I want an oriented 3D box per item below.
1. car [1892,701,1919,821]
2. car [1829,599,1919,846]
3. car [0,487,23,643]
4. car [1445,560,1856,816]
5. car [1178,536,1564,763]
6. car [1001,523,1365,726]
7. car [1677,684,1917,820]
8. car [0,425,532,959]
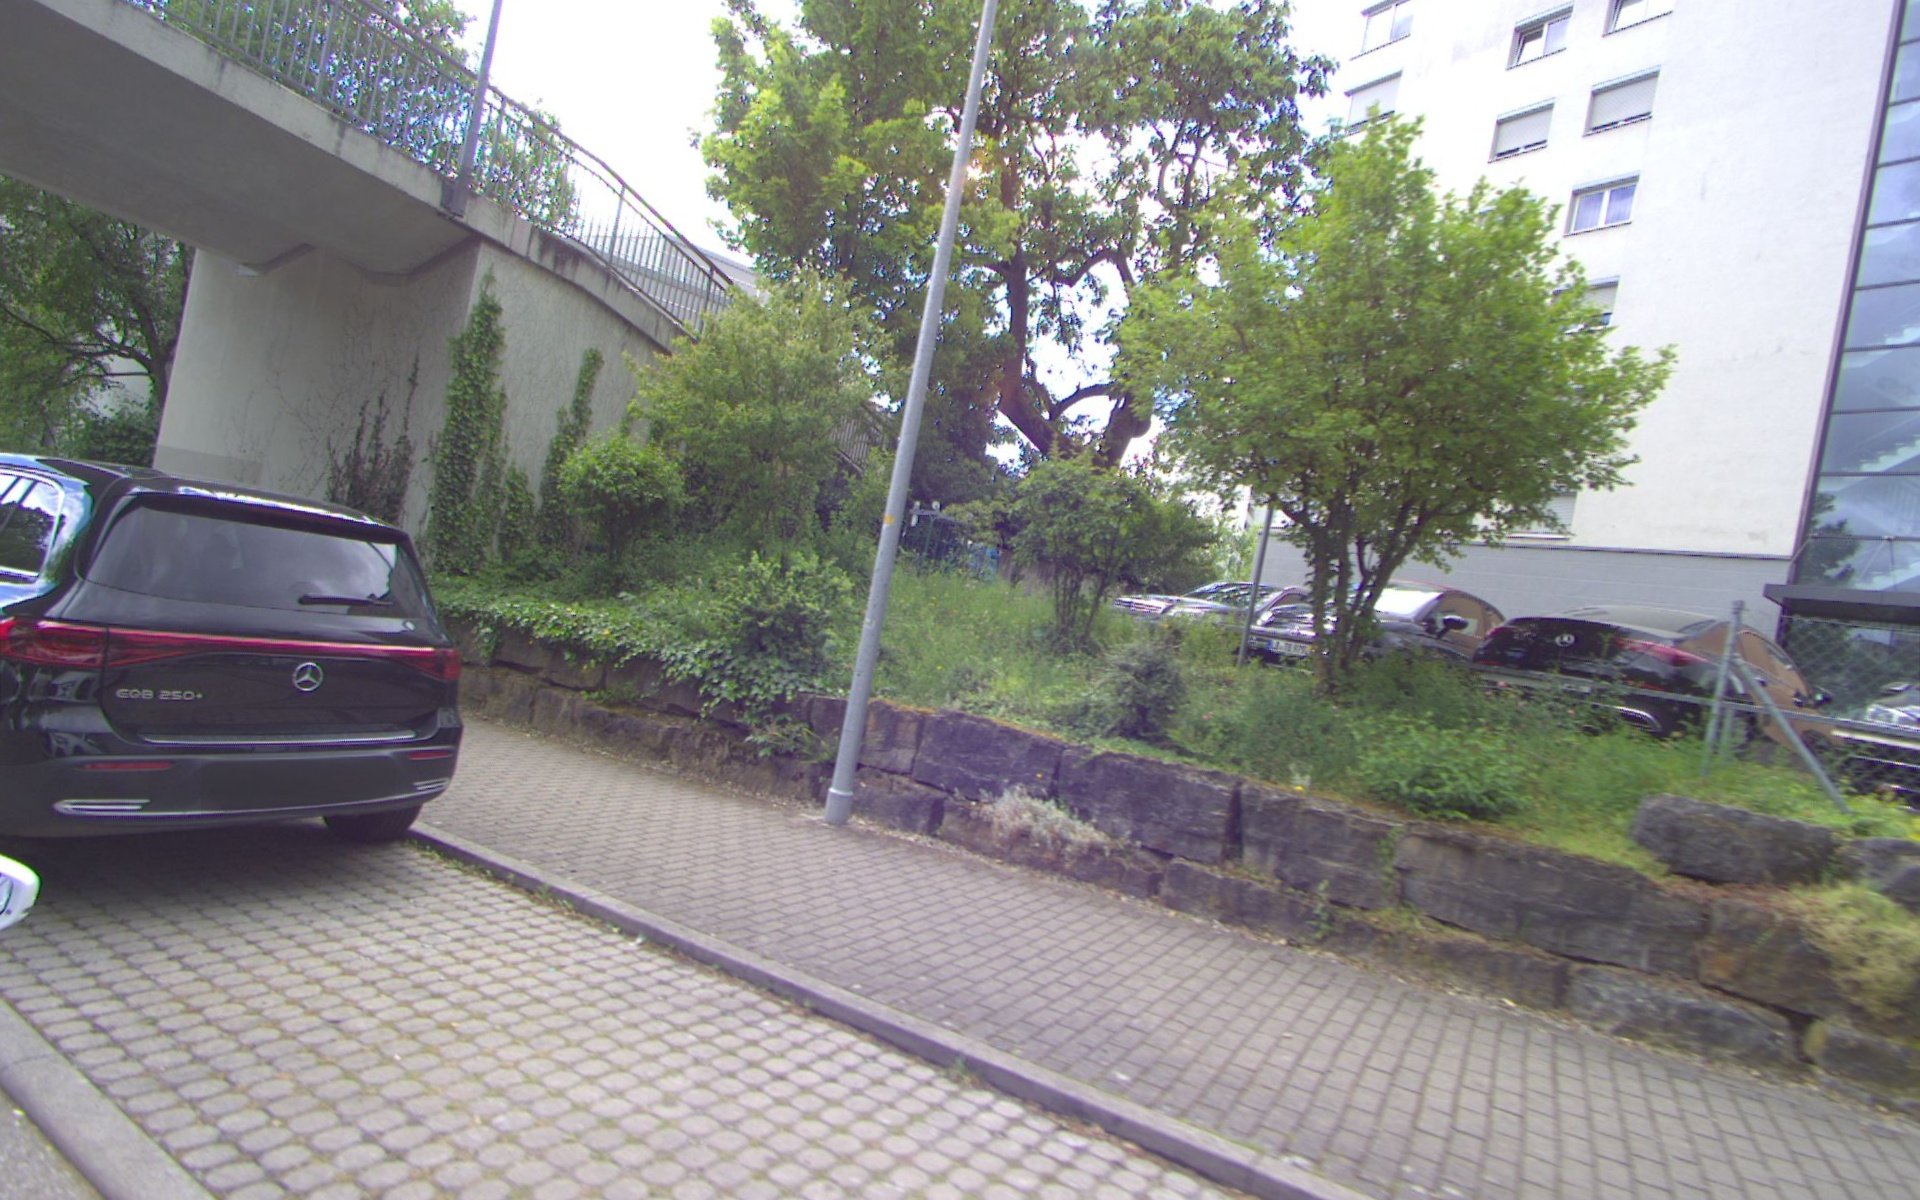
[{"bbox_3d":[15.136,2.615,14.477,4.103,1.611,1.675,12,-2,-36],"label":"car"},{"bbox_3d":[7.468,1.090,6.695,3.773,1.437,1.667,12,-2,-37],"label":"car"},{"bbox_3d":[-9.606,-0.421,8.216,4.049,1.514,1.703,7,-2,31],"label":"car"},{"bbox_3d":[5.952,0.796,8.542,3.636,1.514,1.667,12,-2,-37],"label":"car"},{"bbox_3d":[4.411,0.576,10.557,3.975,1.631,1.923,12,-3,-39],"label":"car"},{"bbox_3d":[2.938,0.375,12.686,4.530,1.686,1.923,12,-3,-39],"label":"car"},{"bbox_3d":[13.800,2.519,16.544,4.019,1.534,1.741,12,-2,-32],"label":"car"},{"bbox_3d":[-4.407,0.123,5.012,4.296,1.698,1.817,8,-1,30],"label":"car"}]
